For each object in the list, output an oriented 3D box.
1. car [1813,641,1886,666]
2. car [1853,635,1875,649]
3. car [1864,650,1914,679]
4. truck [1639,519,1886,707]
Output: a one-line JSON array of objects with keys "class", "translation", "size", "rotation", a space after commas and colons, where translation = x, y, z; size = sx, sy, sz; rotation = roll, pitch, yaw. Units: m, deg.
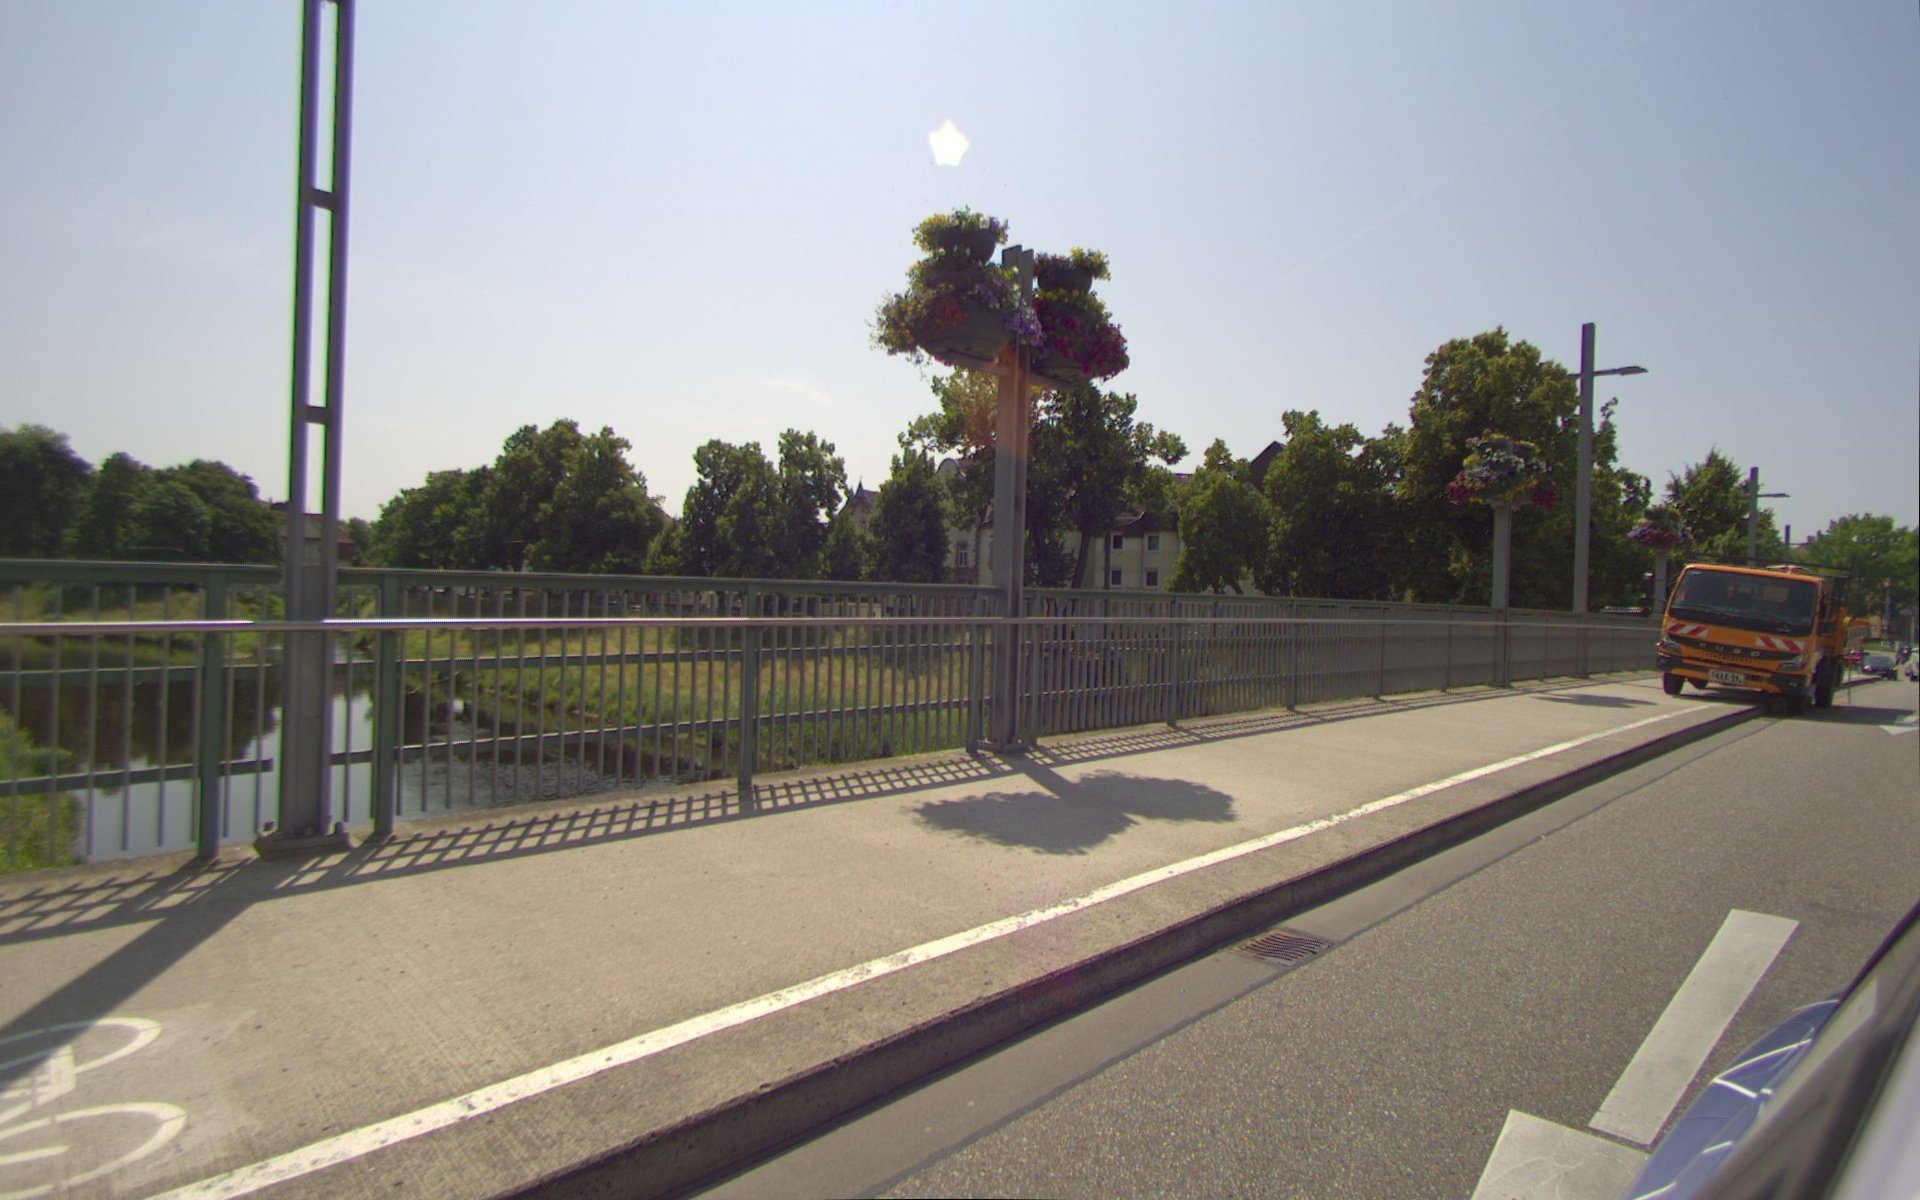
[{"class": "car", "translation": [68.907, 4.147, 78.479], "size": [1.617, 1.482, 3.871], "rotation": [2, 3, -17]}, {"class": "car", "translation": [108.279, 5.036, 121.228], "size": [1.710, 1.504, 3.975], "rotation": [-1, -1, 38]}, {"class": "car", "translation": [57.348, 3.958, 62.537], "size": [1.766, 1.507, 3.949], "rotation": [0, 1, 36]}, {"class": "truck", "translation": [14.122, 0.209, 17.646], "size": [5.726, 2.725, 2.608], "rotation": [2, 0, -44]}]
